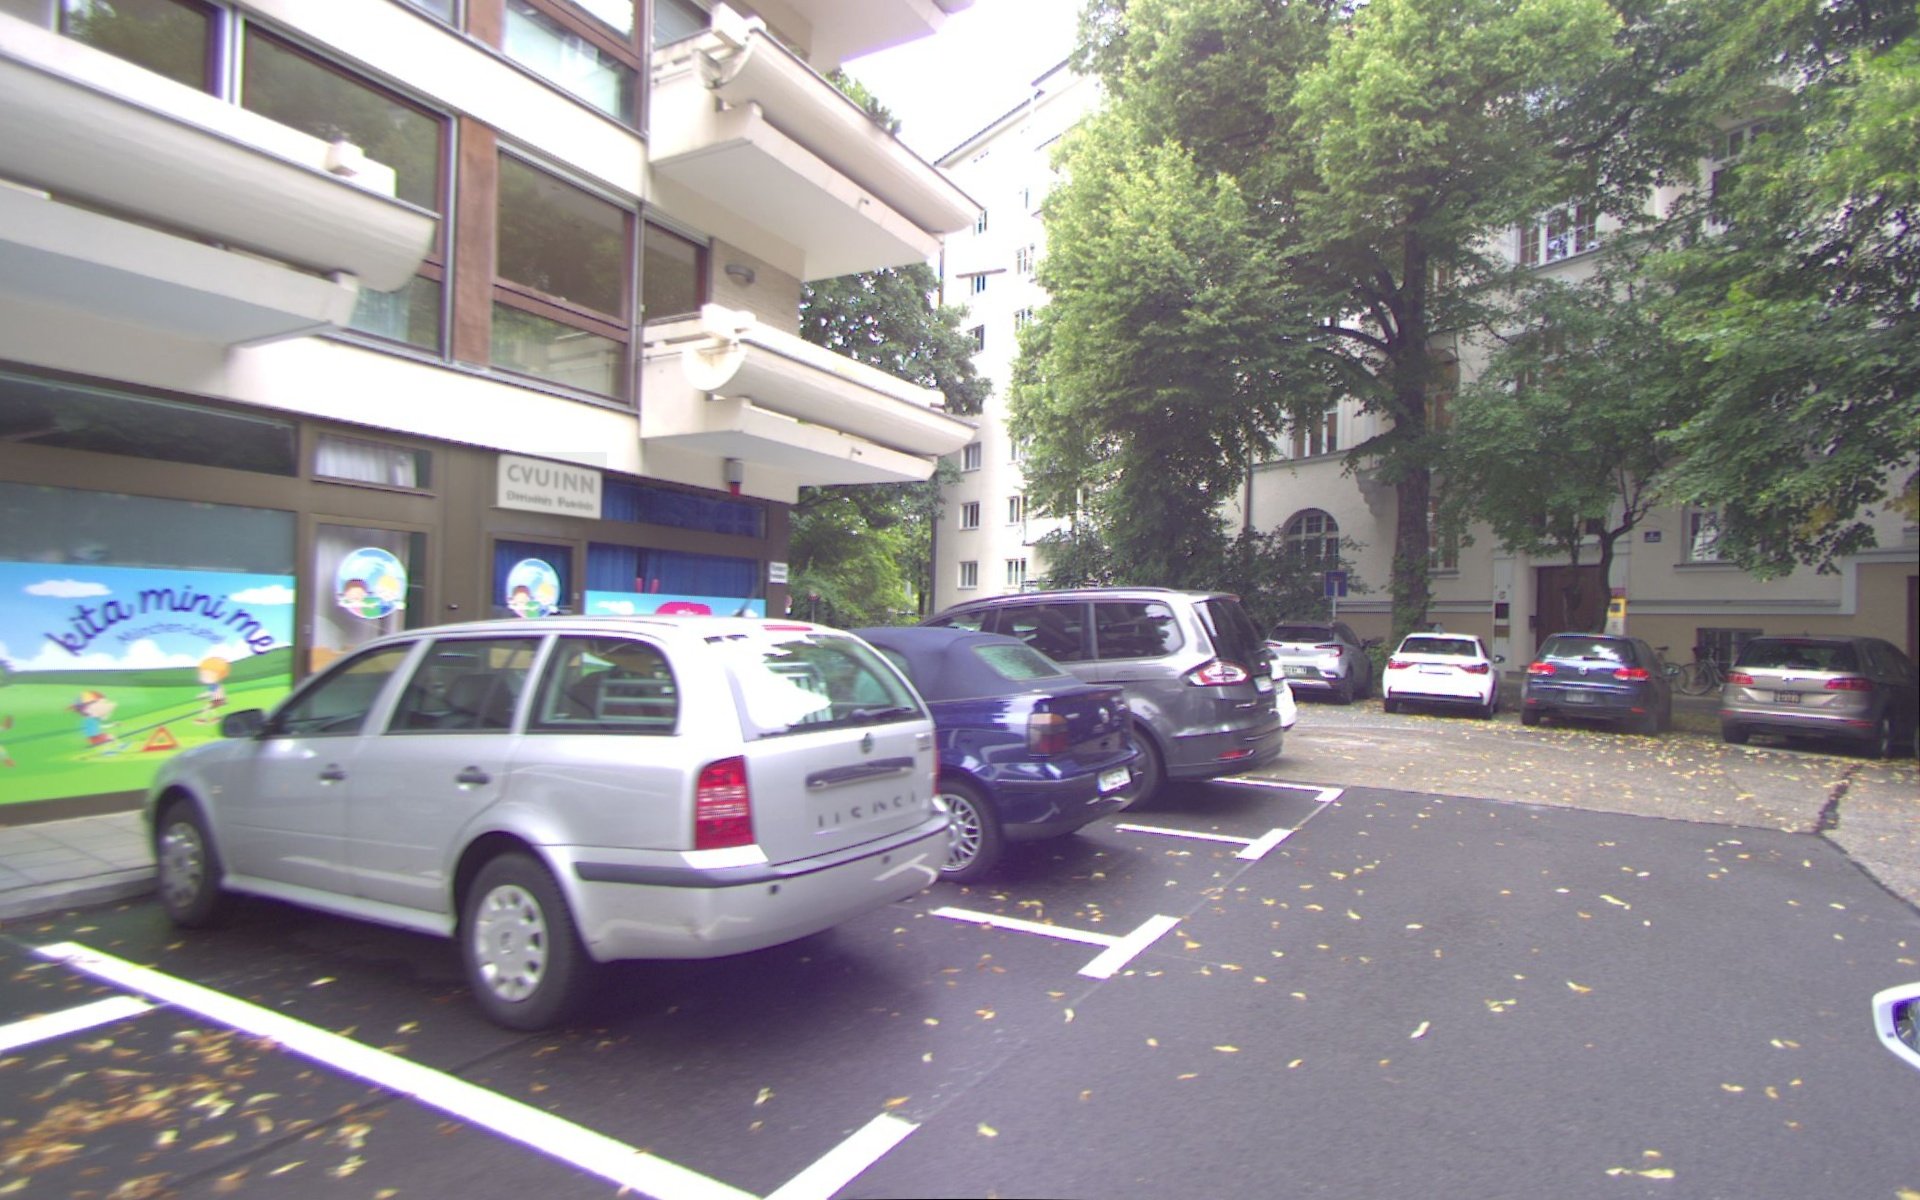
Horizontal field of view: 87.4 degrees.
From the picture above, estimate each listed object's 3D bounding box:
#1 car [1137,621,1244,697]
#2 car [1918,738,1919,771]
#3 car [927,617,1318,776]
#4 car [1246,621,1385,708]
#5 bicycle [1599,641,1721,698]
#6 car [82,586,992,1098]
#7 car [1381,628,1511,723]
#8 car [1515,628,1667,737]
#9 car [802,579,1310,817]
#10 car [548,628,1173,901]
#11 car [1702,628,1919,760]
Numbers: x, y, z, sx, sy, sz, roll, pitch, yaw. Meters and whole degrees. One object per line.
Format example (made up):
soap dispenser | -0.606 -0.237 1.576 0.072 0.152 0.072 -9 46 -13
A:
car | 5.101 1.196 21.928 2.021 1.420 4.002 2 -1 15
car | 12.737 1.294 11.316 4.240 1.486 1.695 5 -1 -31
car | 1.791 1.005 11.249 3.927 1.498 1.833 -2 -3 28
car | 7.351 1.244 20.543 1.842 1.530 3.991 2 -1 32
bicycle | 15.893 1.550 22.870 0.570 1.130 2.217 2 0 -31
car | -2.097 0.779 4.682 4.166 1.474 1.718 -2 -2 29
car | 8.884 1.277 18.188 1.694 1.450 3.991 2 -1 32
car | 10.270 1.229 16.219 1.768 1.450 3.986 2 -1 36
car | 0.824 0.773 9.048 4.156 1.706 1.900 -1 -2 28
car | -0.753 0.901 6.858 3.999 1.385 1.715 -1 -2 29
car | 12.301 1.245 14.276 3.990 1.550 1.824 3 -1 -38
